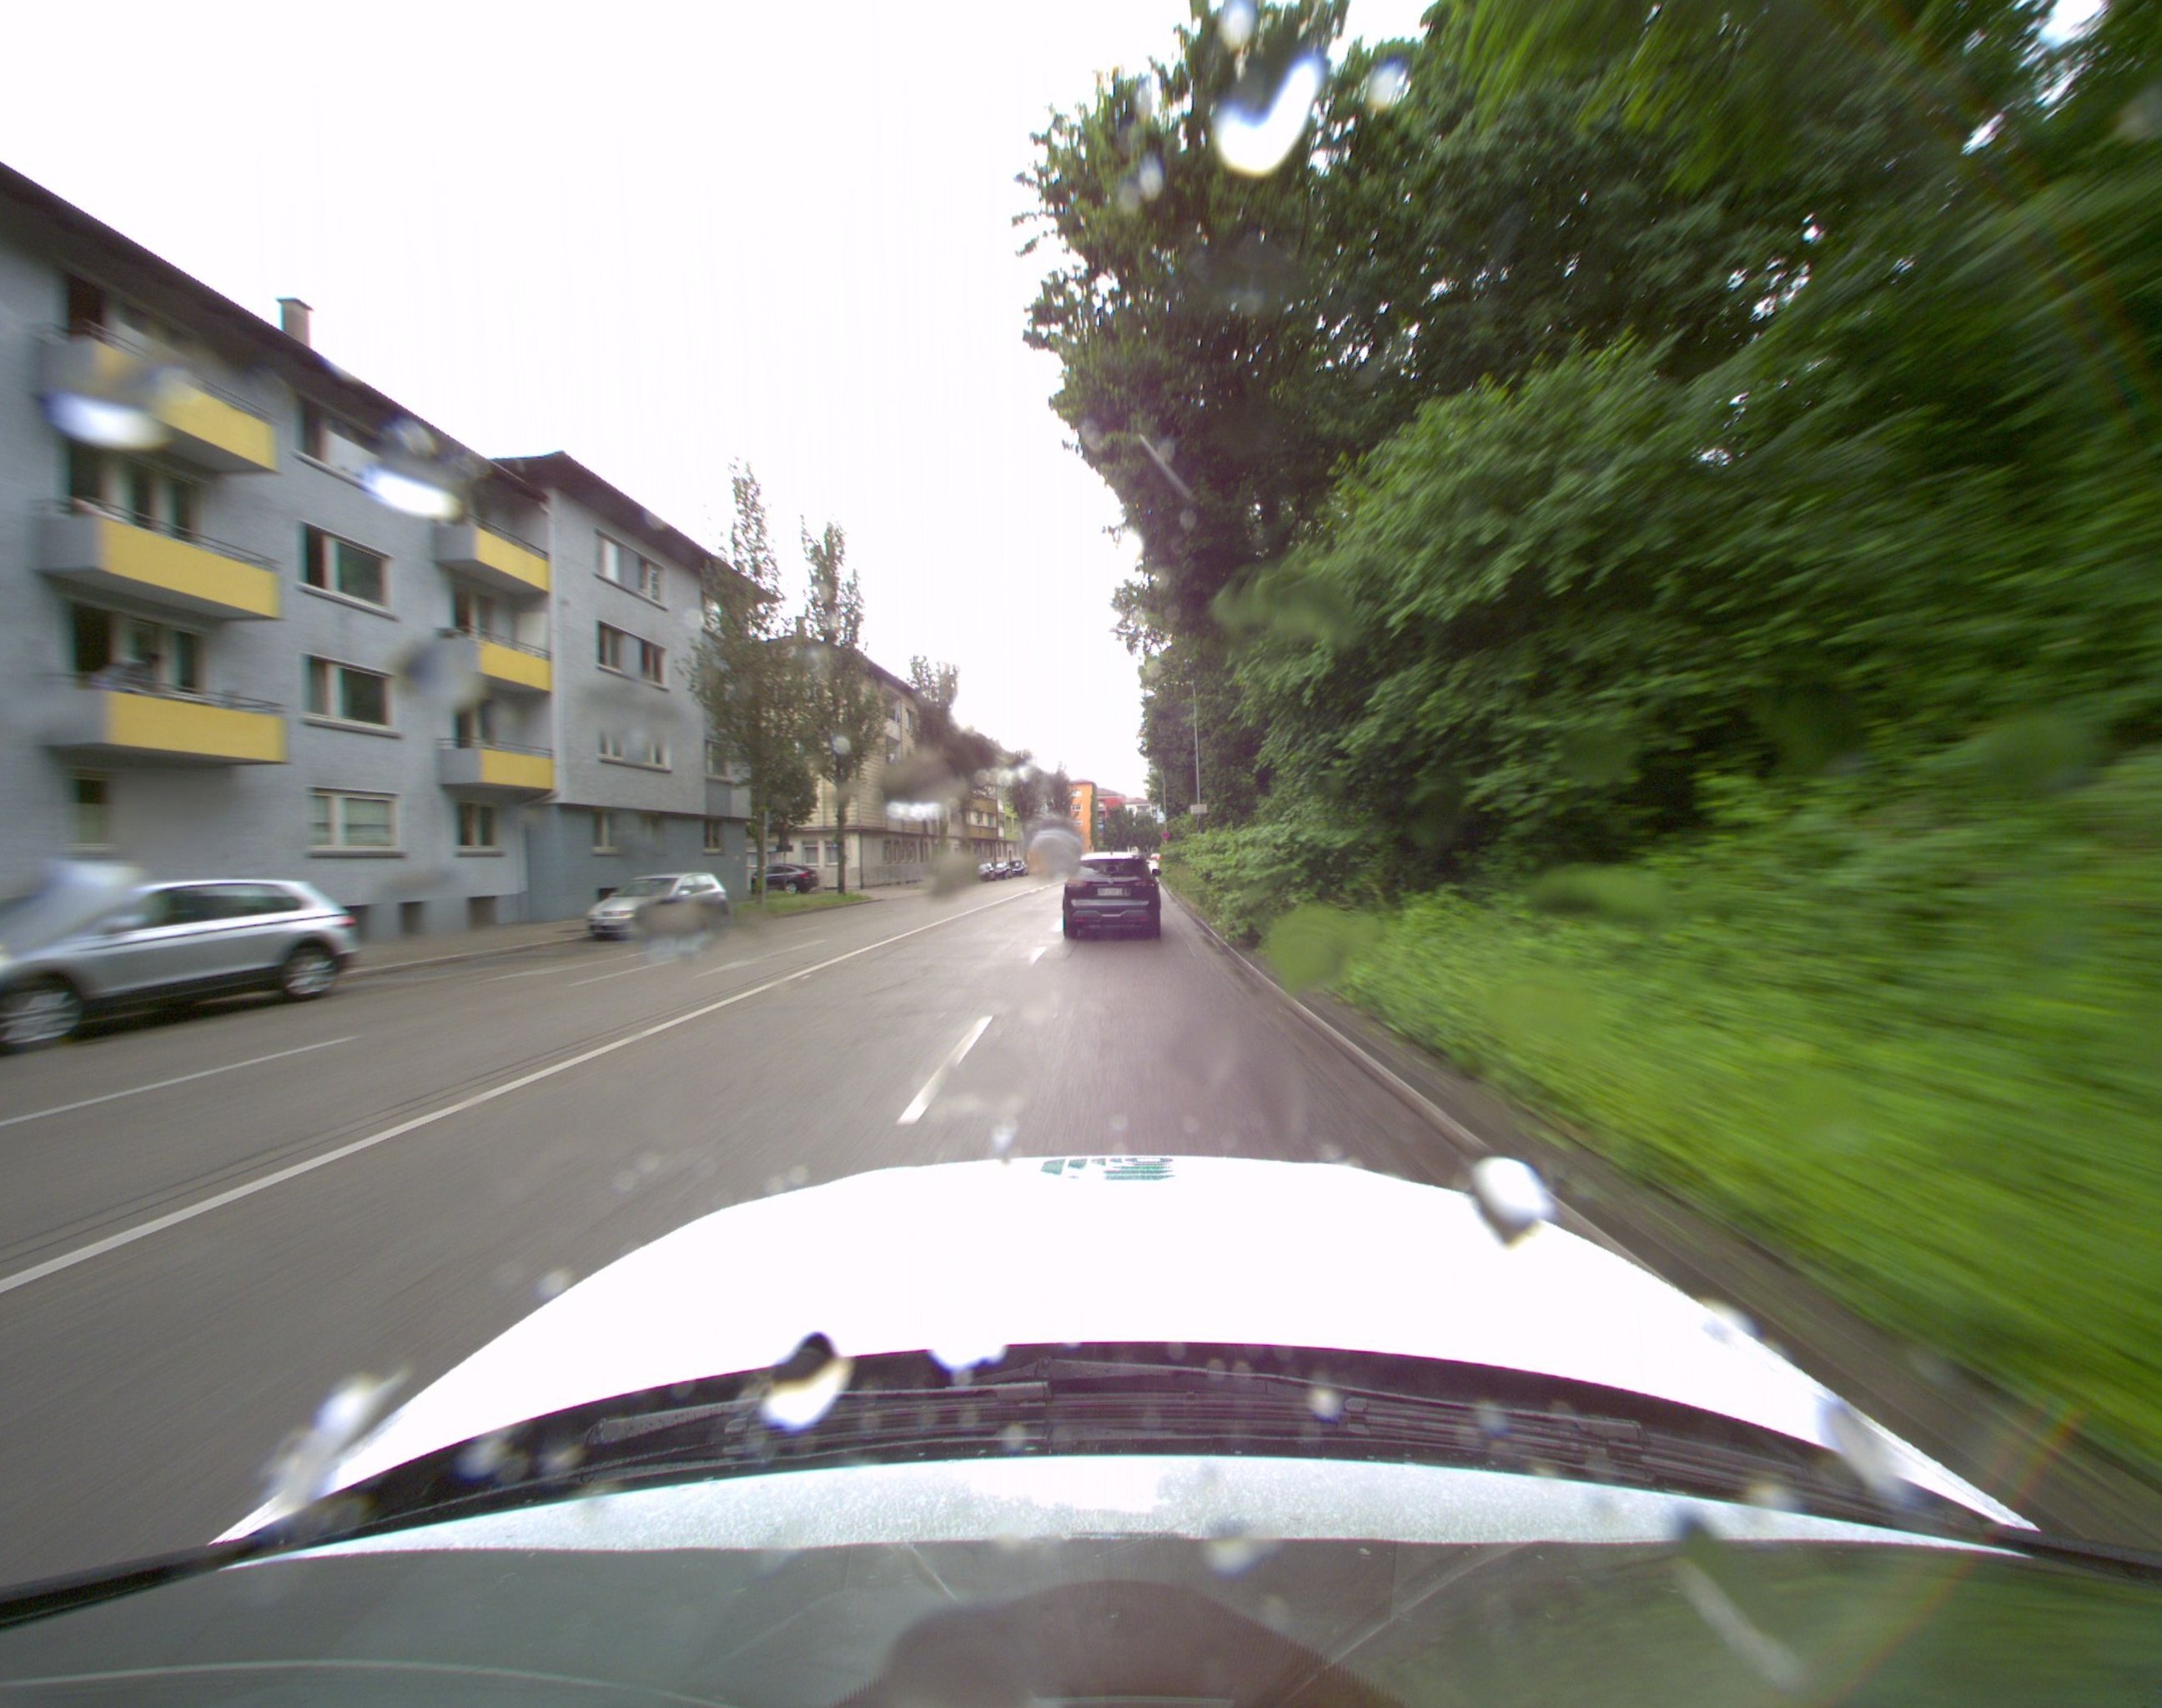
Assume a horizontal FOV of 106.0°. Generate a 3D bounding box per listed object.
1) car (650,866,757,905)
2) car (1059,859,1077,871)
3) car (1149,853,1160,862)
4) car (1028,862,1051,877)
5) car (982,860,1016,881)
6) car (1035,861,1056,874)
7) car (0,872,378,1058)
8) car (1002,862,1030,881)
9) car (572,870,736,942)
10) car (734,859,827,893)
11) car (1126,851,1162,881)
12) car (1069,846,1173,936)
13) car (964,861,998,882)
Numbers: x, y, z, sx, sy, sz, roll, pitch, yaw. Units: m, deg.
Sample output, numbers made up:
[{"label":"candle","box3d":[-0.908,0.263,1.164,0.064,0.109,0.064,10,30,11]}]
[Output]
[{"label":"car","box3d":[-16.924,1.410,36.621,4.022,1.494,1.692,-2,-2,-42]},{"label":"car","box3d":[-1.776,1.471,110.952,1.679,1.358,4.589,-5,0,8]},{"label":"car","box3d":[13.104,0.610,144.784,1.697,1.478,3.687,-3,0,7]},{"label":"car","box3d":[-4.373,1.603,86.799,1.809,1.372,4.686,-4,0,5]},{"label":"car","box3d":[-6.624,1.316,66.118,1.809,1.488,4.795,-4,0,4]},{"label":"car","box3d":[-3.958,1.523,92.490,1.671,1.376,4.007,-4,0,7]},{"label":"car","box3d":[-10.766,1.103,9.119,1.758,1.604,4.533,-3,0,0]},{"label":"car","box3d":[-5.940,1.610,75.127,1.710,1.488,4.522,-4,0,6]},{"label":"car","box3d":[-10.321,1.184,20.086,1.718,1.453,4.206,-3,0,1]},{"label":"car","box3d":[-15.944,1.172,43.287,4.130,1.579,1.929,-2,0,4]},{"label":"car","box3d":[3.915,0.705,50.076,1.876,1.711,4.010,-1,0,9]},{"label":"car","box3d":[0.749,0.650,16.517,1.838,1.582,4.001,-1,0,1]},{"label":"car","box3d":[-7.313,1.237,59.911,1.618,1.387,3.994,-3,0,5]}]
